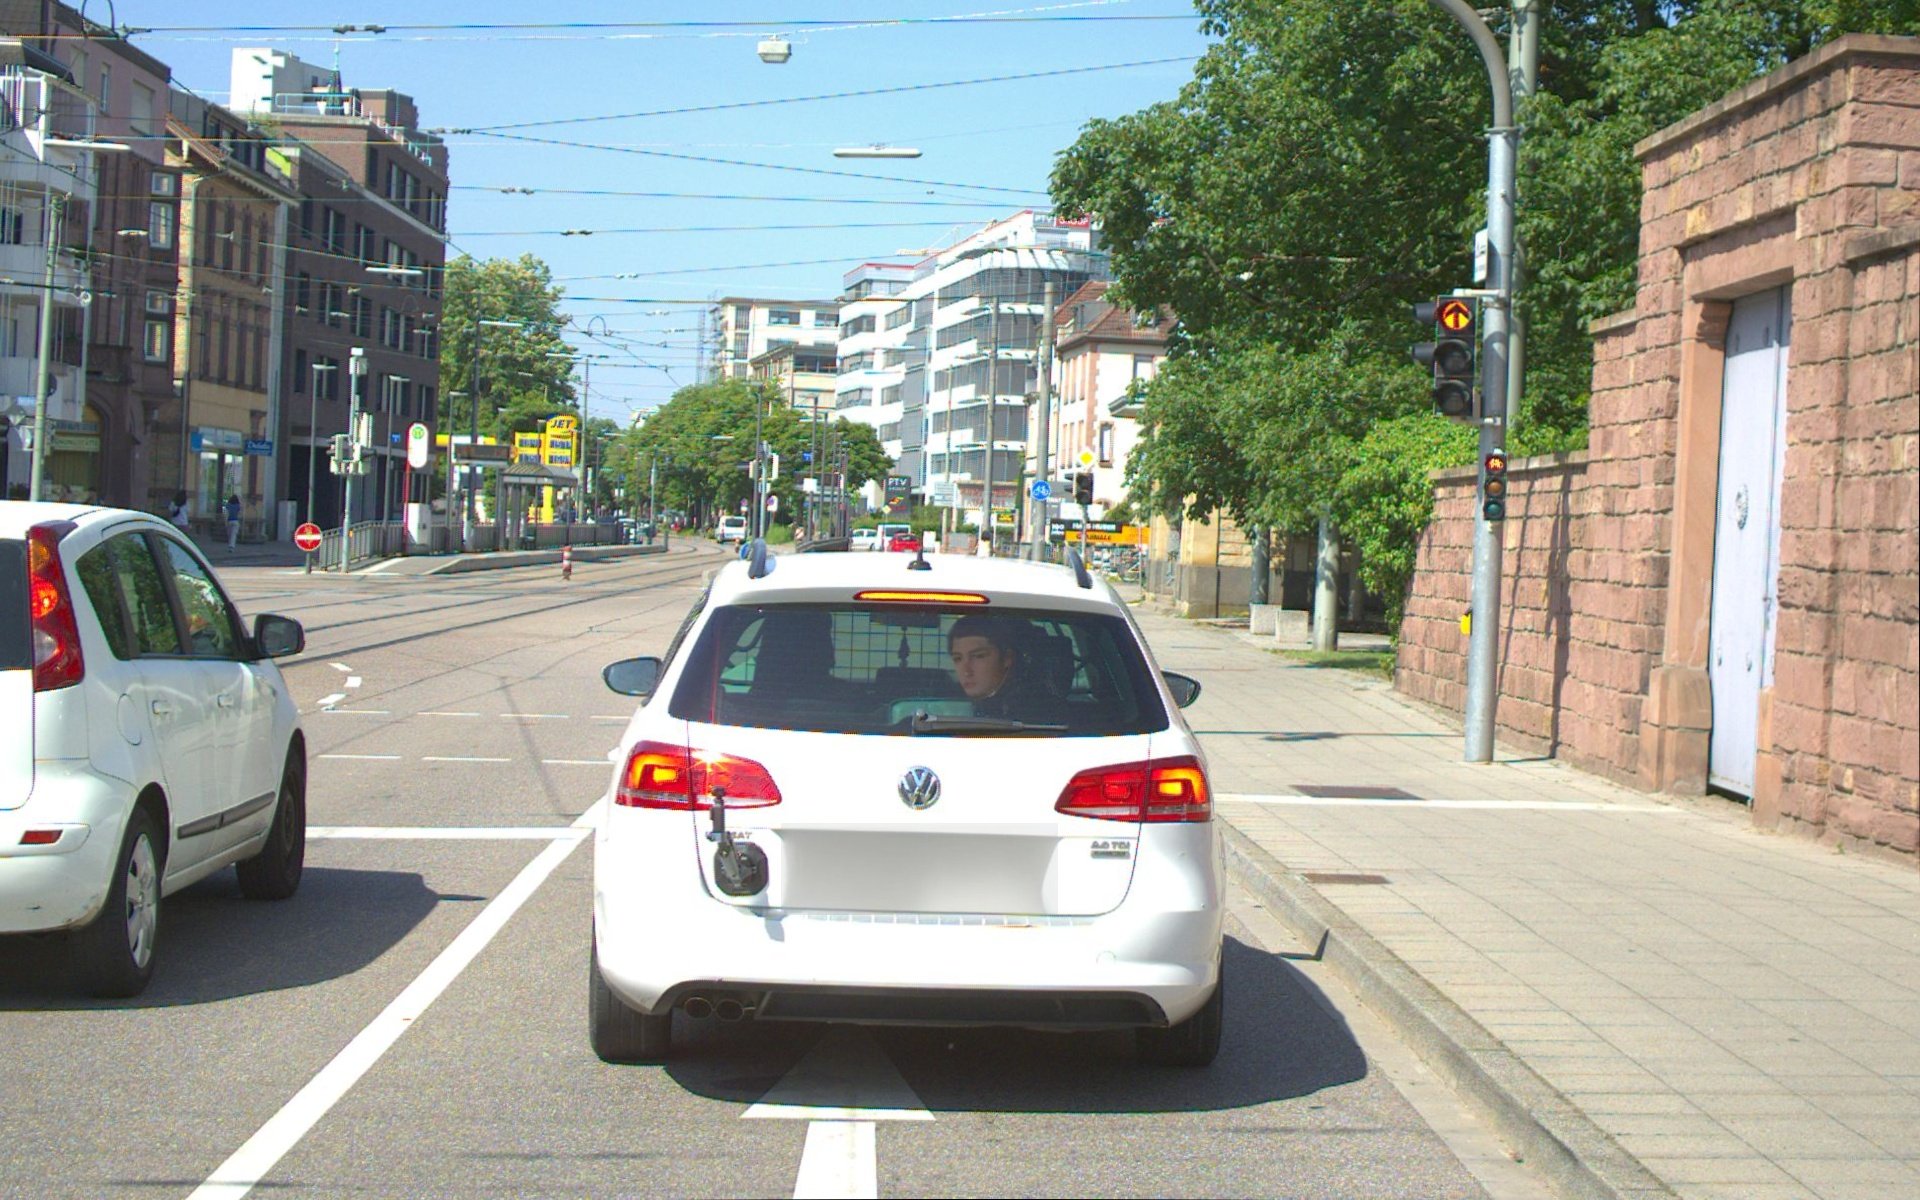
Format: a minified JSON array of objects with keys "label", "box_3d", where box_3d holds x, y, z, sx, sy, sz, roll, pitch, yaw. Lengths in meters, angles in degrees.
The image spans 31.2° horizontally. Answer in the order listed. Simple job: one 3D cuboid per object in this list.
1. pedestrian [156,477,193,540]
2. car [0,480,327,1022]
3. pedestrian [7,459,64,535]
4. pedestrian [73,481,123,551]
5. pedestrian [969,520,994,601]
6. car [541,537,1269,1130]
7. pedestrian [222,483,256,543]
[{"label":"pedestrian","box_3d":[-21.933,-2.550,96.037,0.861,1.737,0.975,1,0,-6]},{"label":"car","box_3d":[-3.362,0.376,11.967,1.642,1.561,3.804,1,2,-1]},{"label":"pedestrian","box_3d":[-21.627,-2.401,80.441,0.864,1.737,0.972,1,0,45]},{"label":"pedestrian","box_3d":[-21.711,-2.113,86.582,0.972,1.737,0.864,1,0,-32]},{"label":"pedestrian","box_3d":[0.627,-1.137,99.678,0.690,2.317,1.232,1,0,1]},{"label":"car","box_3d":[-0.163,0.553,10.641,1.808,1.443,4.000,1,1,-1]},{"label":"pedestrian","box_3d":[-21.404,-2.576,102.017,0.861,1.737,0.975,1,0,-6]}]
